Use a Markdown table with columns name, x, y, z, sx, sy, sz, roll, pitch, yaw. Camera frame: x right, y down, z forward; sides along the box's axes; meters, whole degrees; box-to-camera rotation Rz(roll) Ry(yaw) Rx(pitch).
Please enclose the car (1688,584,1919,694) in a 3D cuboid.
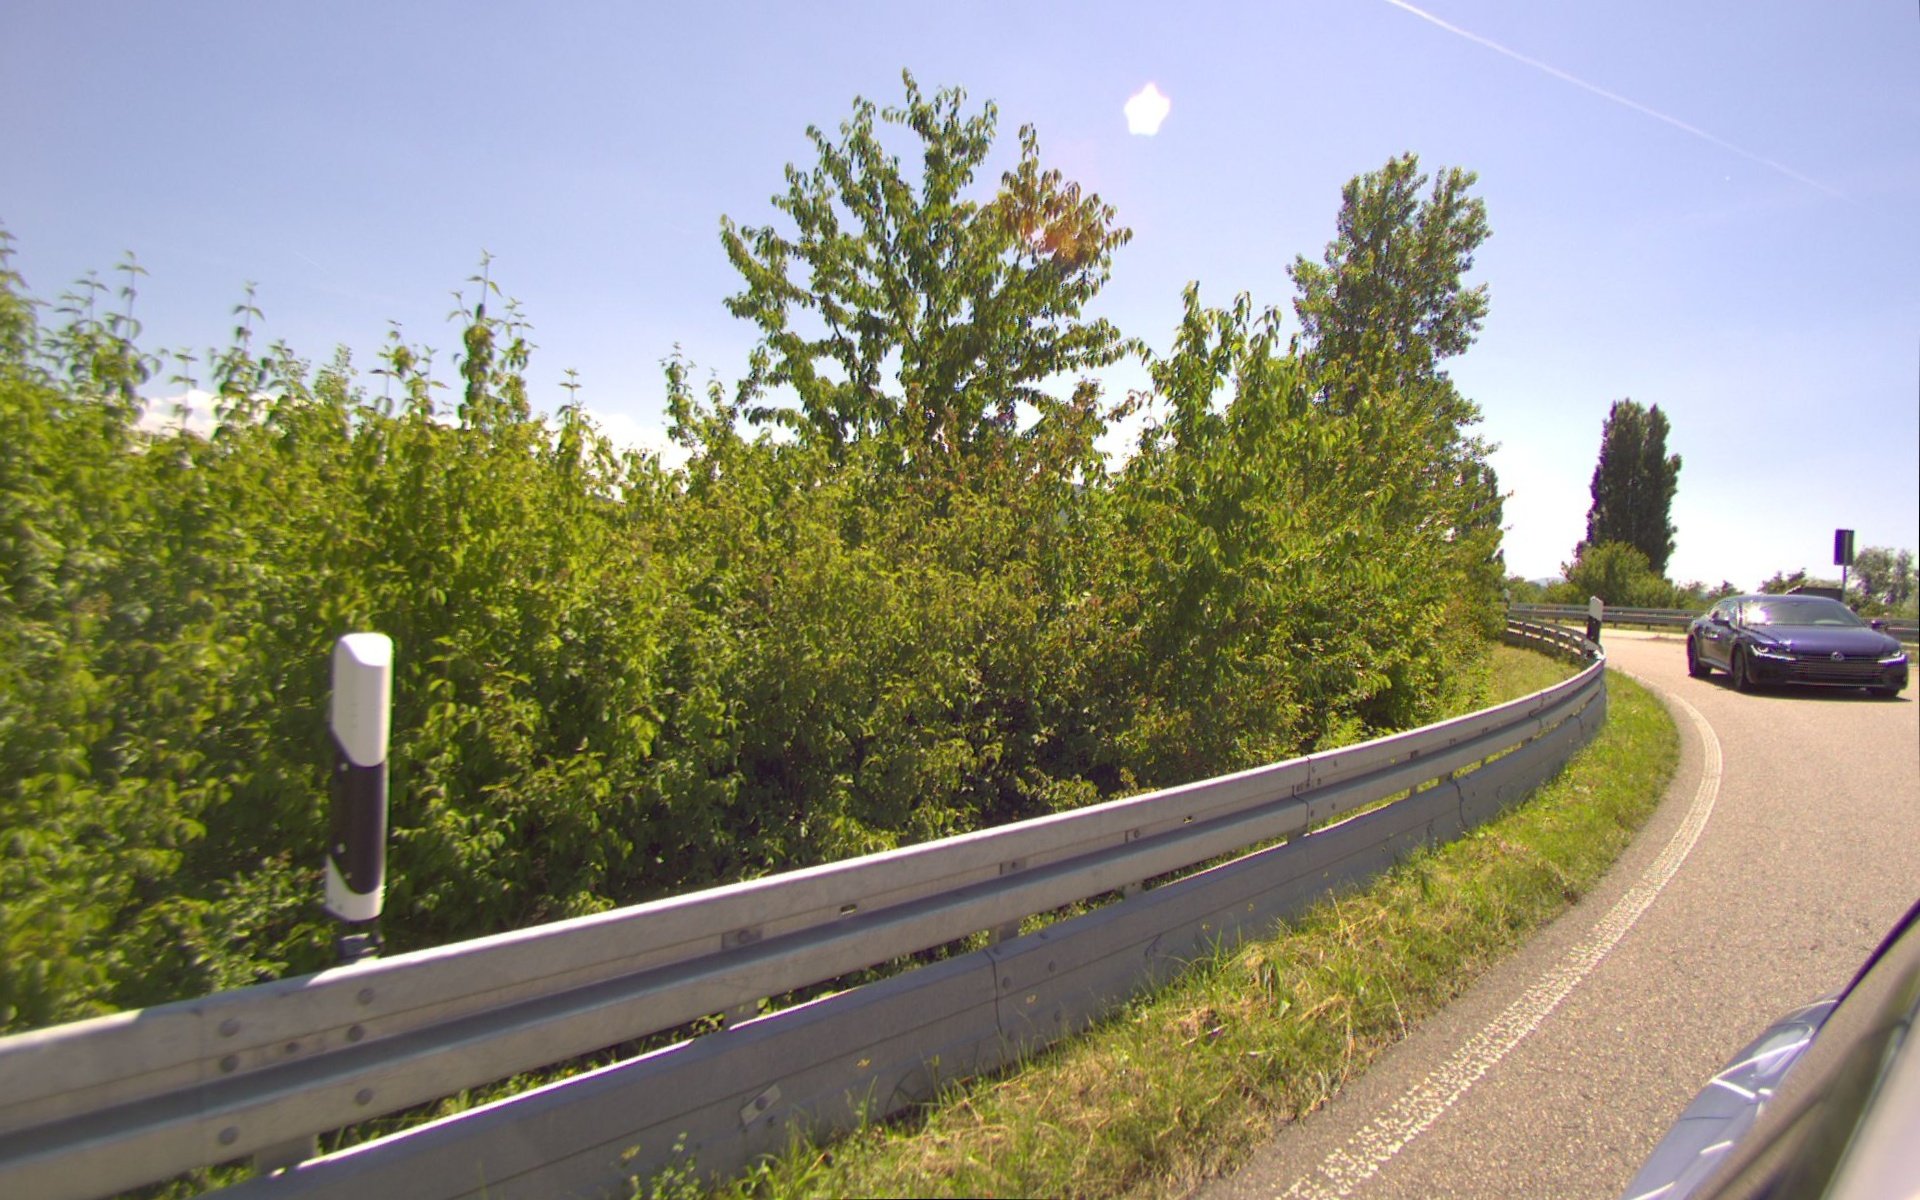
| name | x | y | z | sx | sy | sz | roll | pitch | yaw |
| --- | --- | --- | --- | --- | --- | --- | --- | --- | --- |
| car | 12.949 | 0.510 | 15.730 | 1.825 | 1.449 | 4.493 | -2 | 0 | 26 |
